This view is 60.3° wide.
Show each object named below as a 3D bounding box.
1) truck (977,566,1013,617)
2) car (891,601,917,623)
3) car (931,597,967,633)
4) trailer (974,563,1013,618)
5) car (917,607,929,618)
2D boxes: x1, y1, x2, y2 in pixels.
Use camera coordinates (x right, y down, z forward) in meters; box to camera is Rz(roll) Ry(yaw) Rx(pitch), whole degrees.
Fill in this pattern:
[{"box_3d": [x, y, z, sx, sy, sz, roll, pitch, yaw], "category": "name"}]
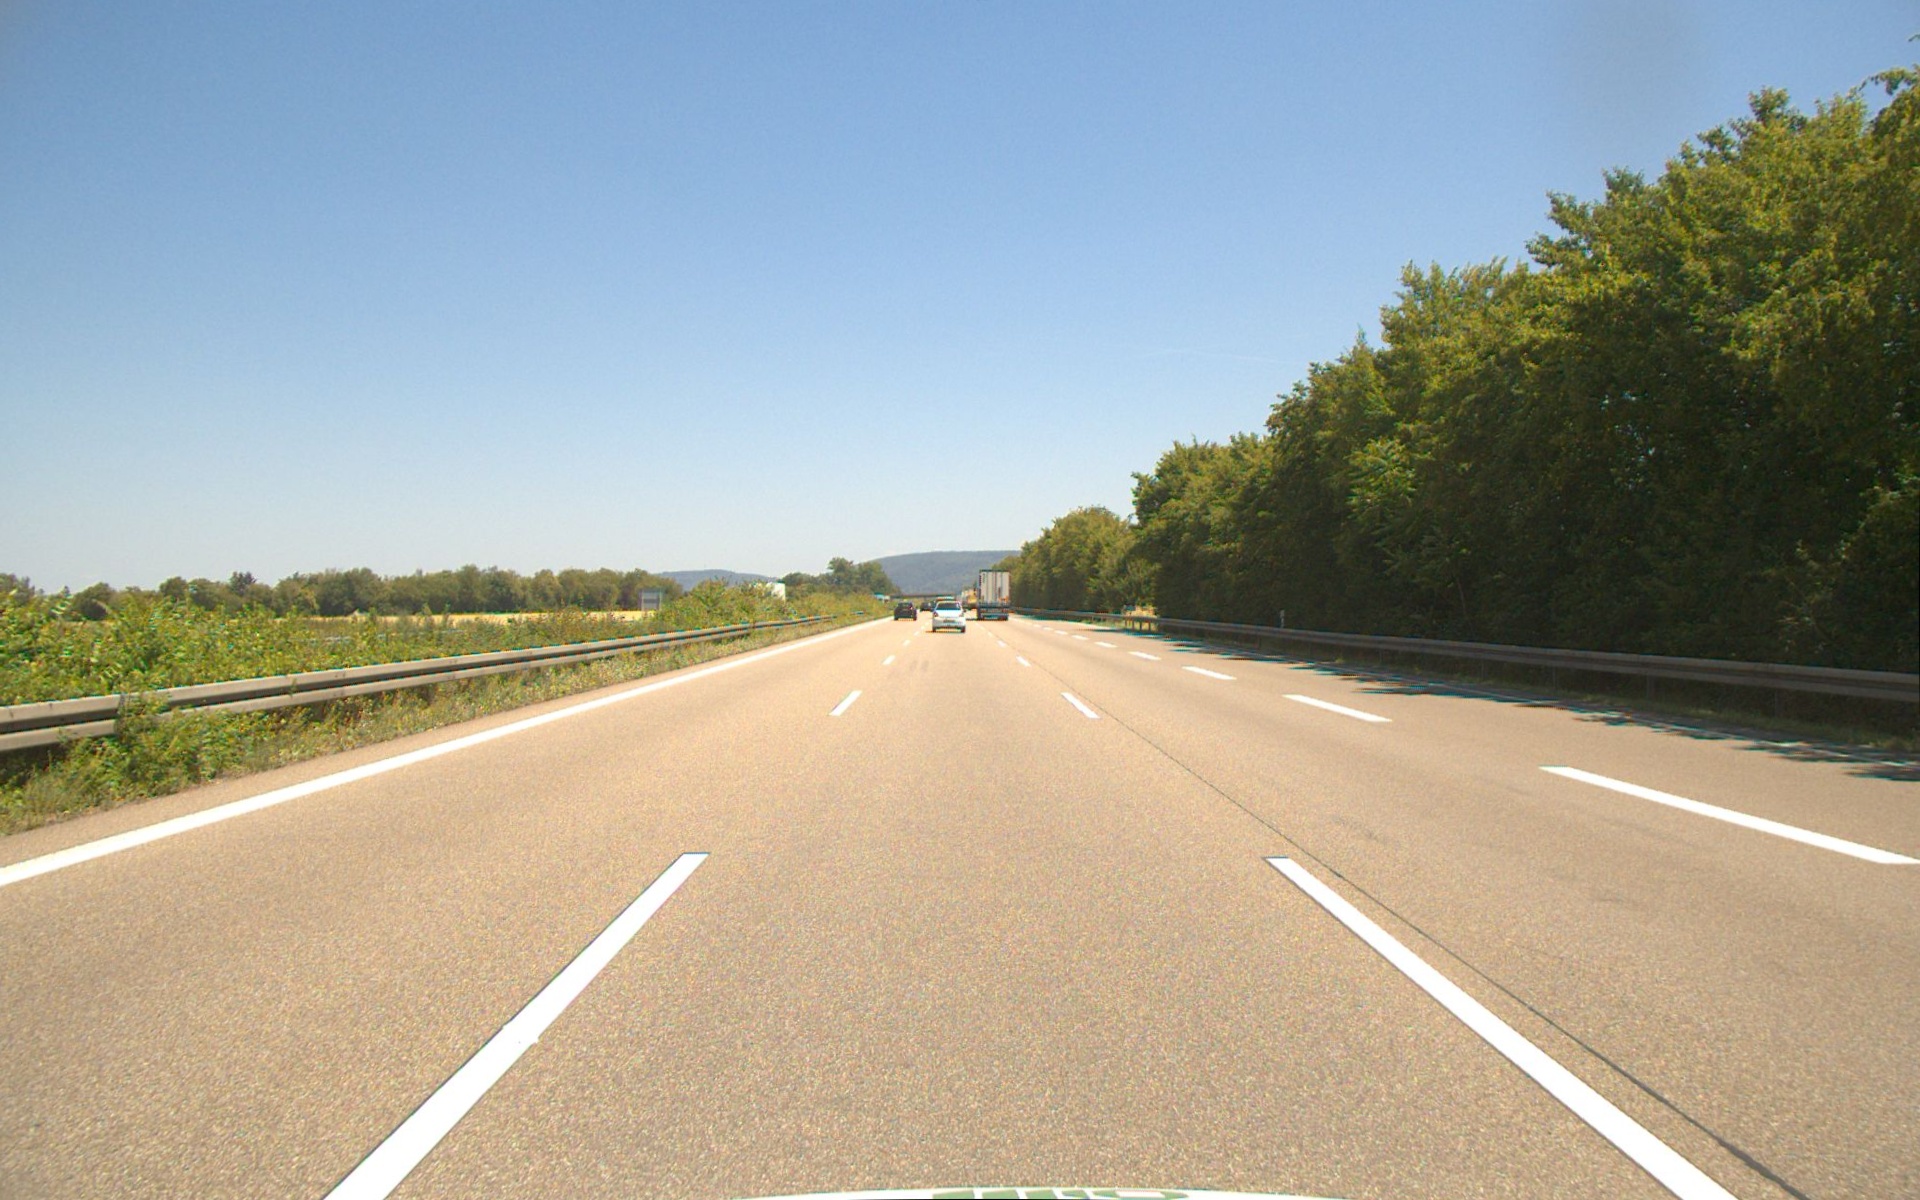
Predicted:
[{"box_3d": [3.170, -0.713, 148.336, 3.151, 4.421, 6.592, 1, 0, 2], "category": "truck"}, {"box_3d": [-4.414, 0.942, 131.329, 1.953, 1.742, 3.999, 1, 0, -1], "category": "car"}, {"box_3d": [-0.583, 0.741, 82.459, 1.697, 1.713, 3.999, -1, 0, -1], "category": "car"}, {"box_3d": [2.930, -0.737, 140.792, 3.151, 4.421, 13.632, 1, 0, 2], "category": "trailer"}, {"box_3d": [-5.384, 1.772, 239.442, 1.759, 1.578, 3.999, 0, -1, -1], "category": "car"}]
